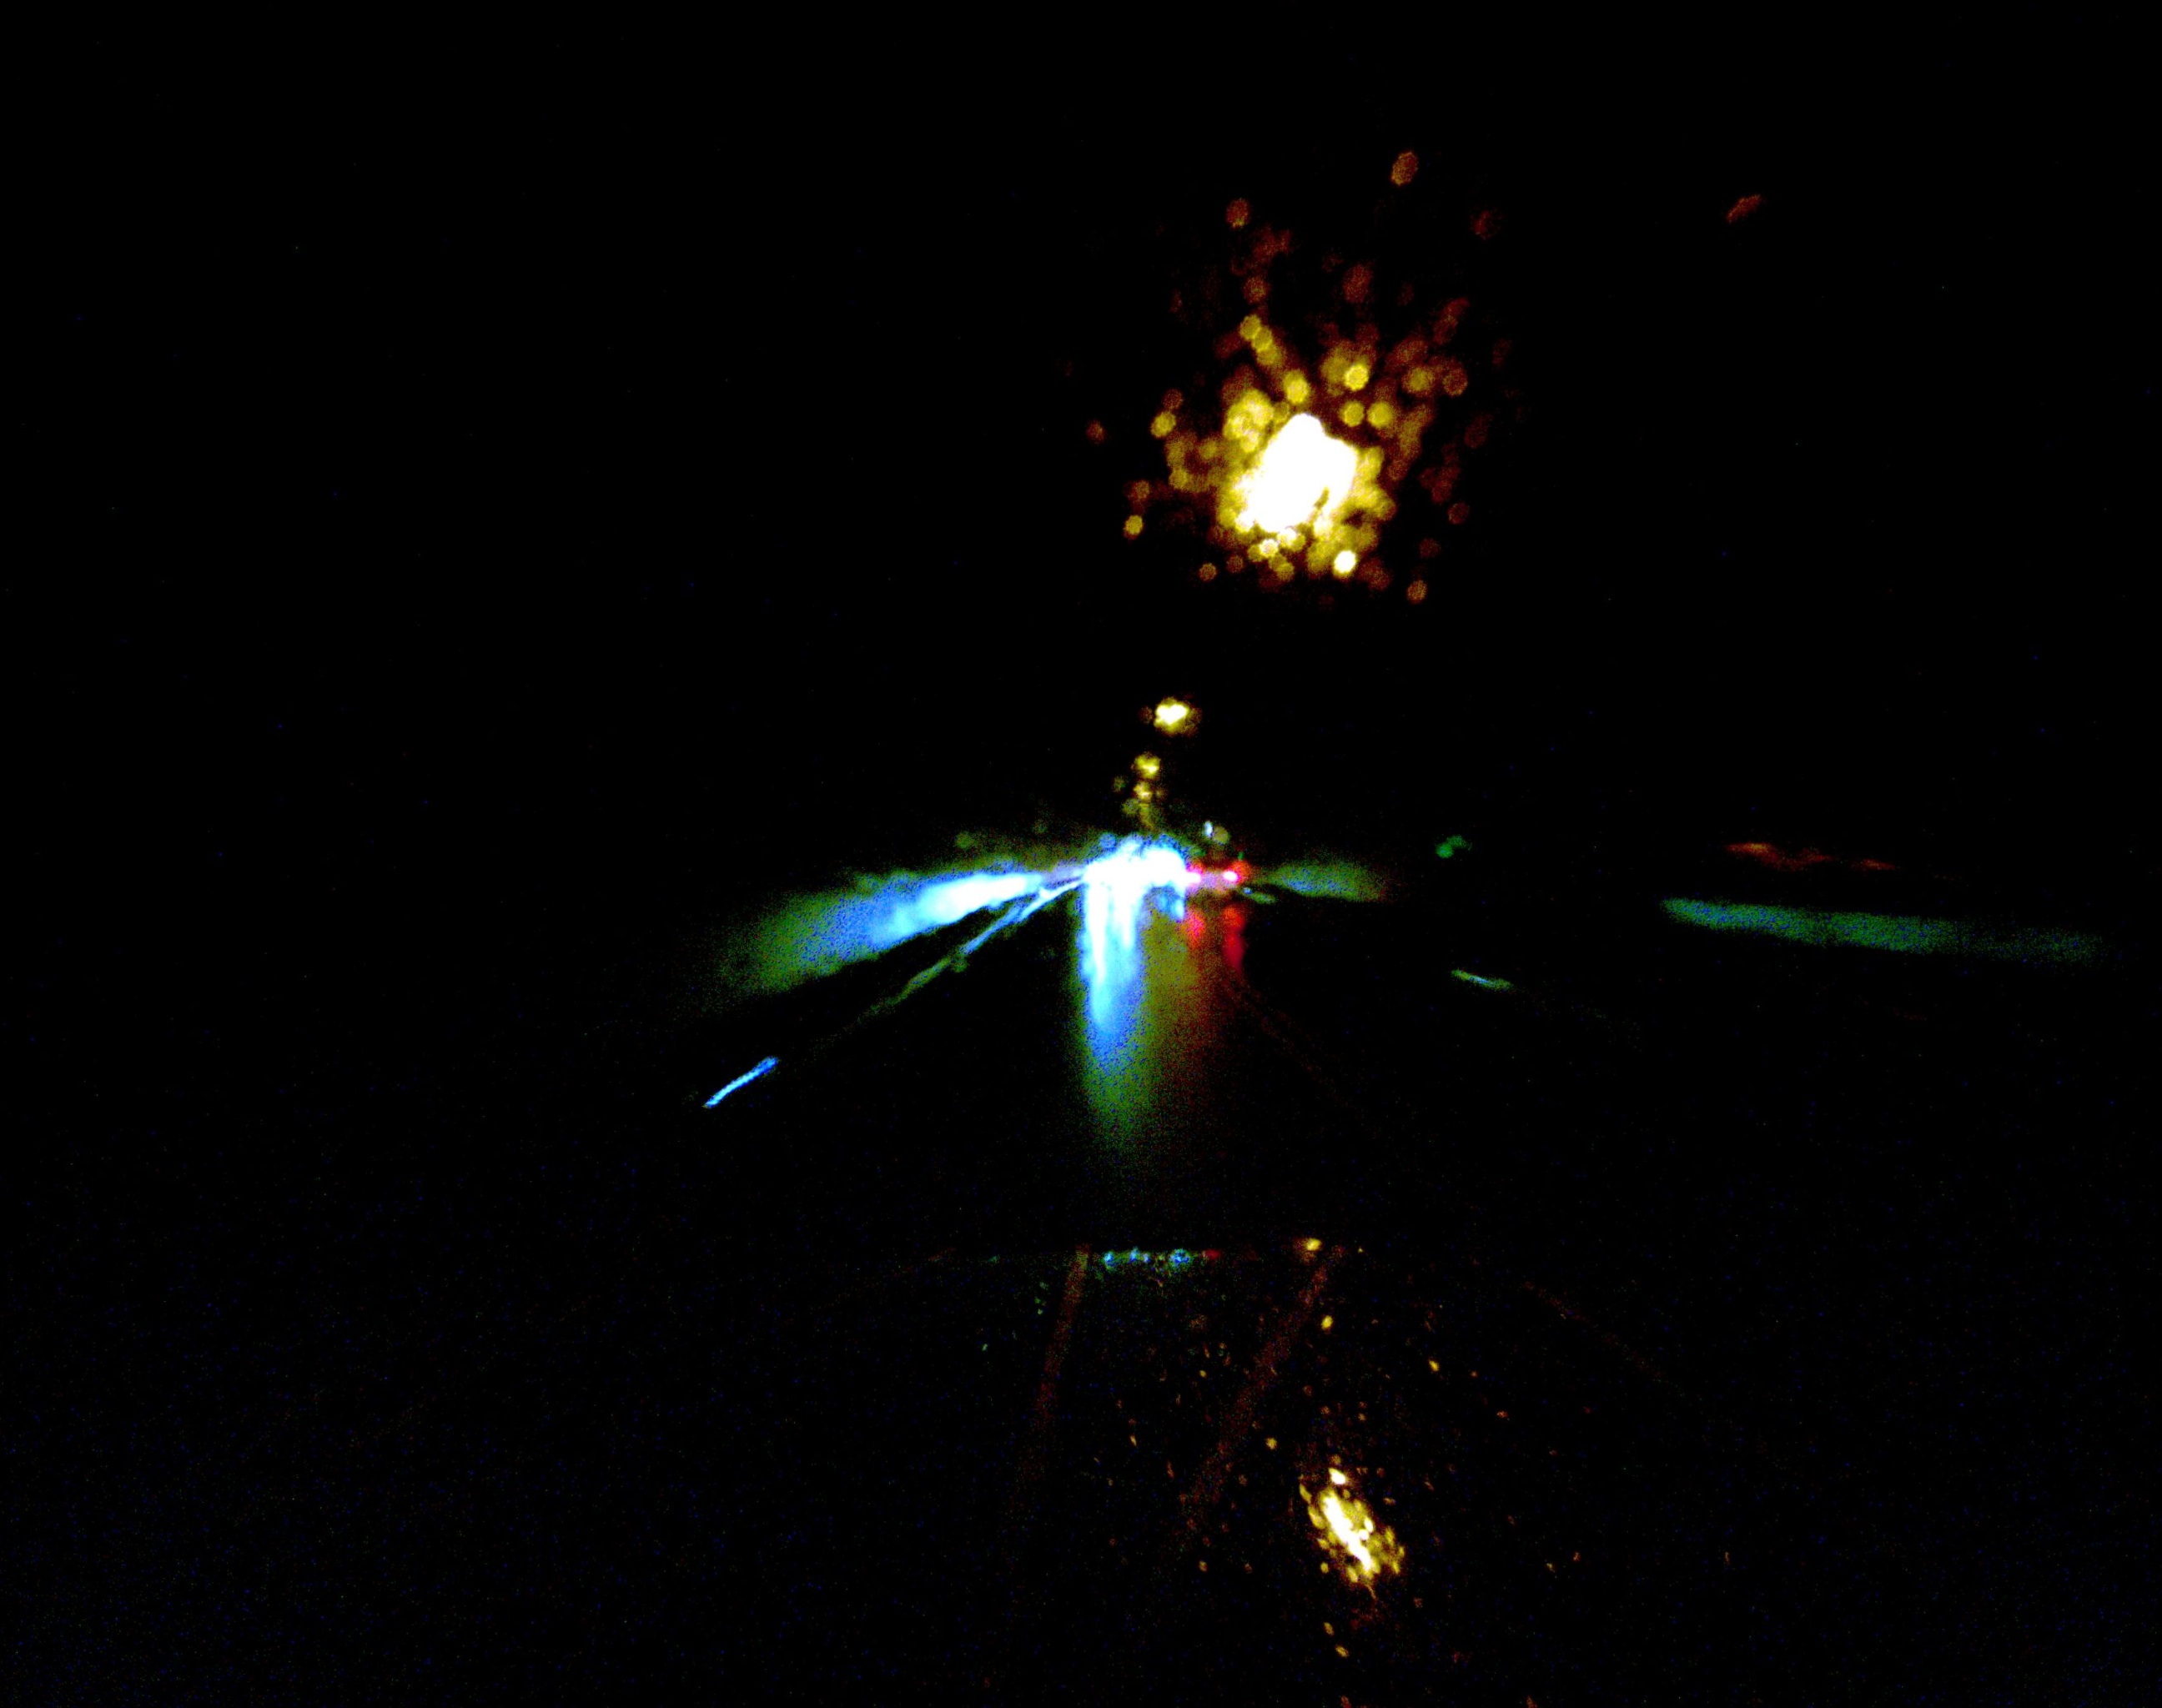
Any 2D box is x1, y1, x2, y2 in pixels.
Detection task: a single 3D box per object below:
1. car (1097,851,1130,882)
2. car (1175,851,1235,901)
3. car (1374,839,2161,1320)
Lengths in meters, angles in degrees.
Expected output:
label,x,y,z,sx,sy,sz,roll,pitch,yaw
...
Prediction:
label,x,y,z,sx,sy,sz,roll,pitch,yaw
car,1.983,0.706,45.355,1.729,1.595,4.001,-3,0,5
car,4.168,0.686,26.040,1.624,1.508,4.138,-2,0,4
car,3.046,0.760,4.152,1.586,1.528,3.176,-4,0,0
